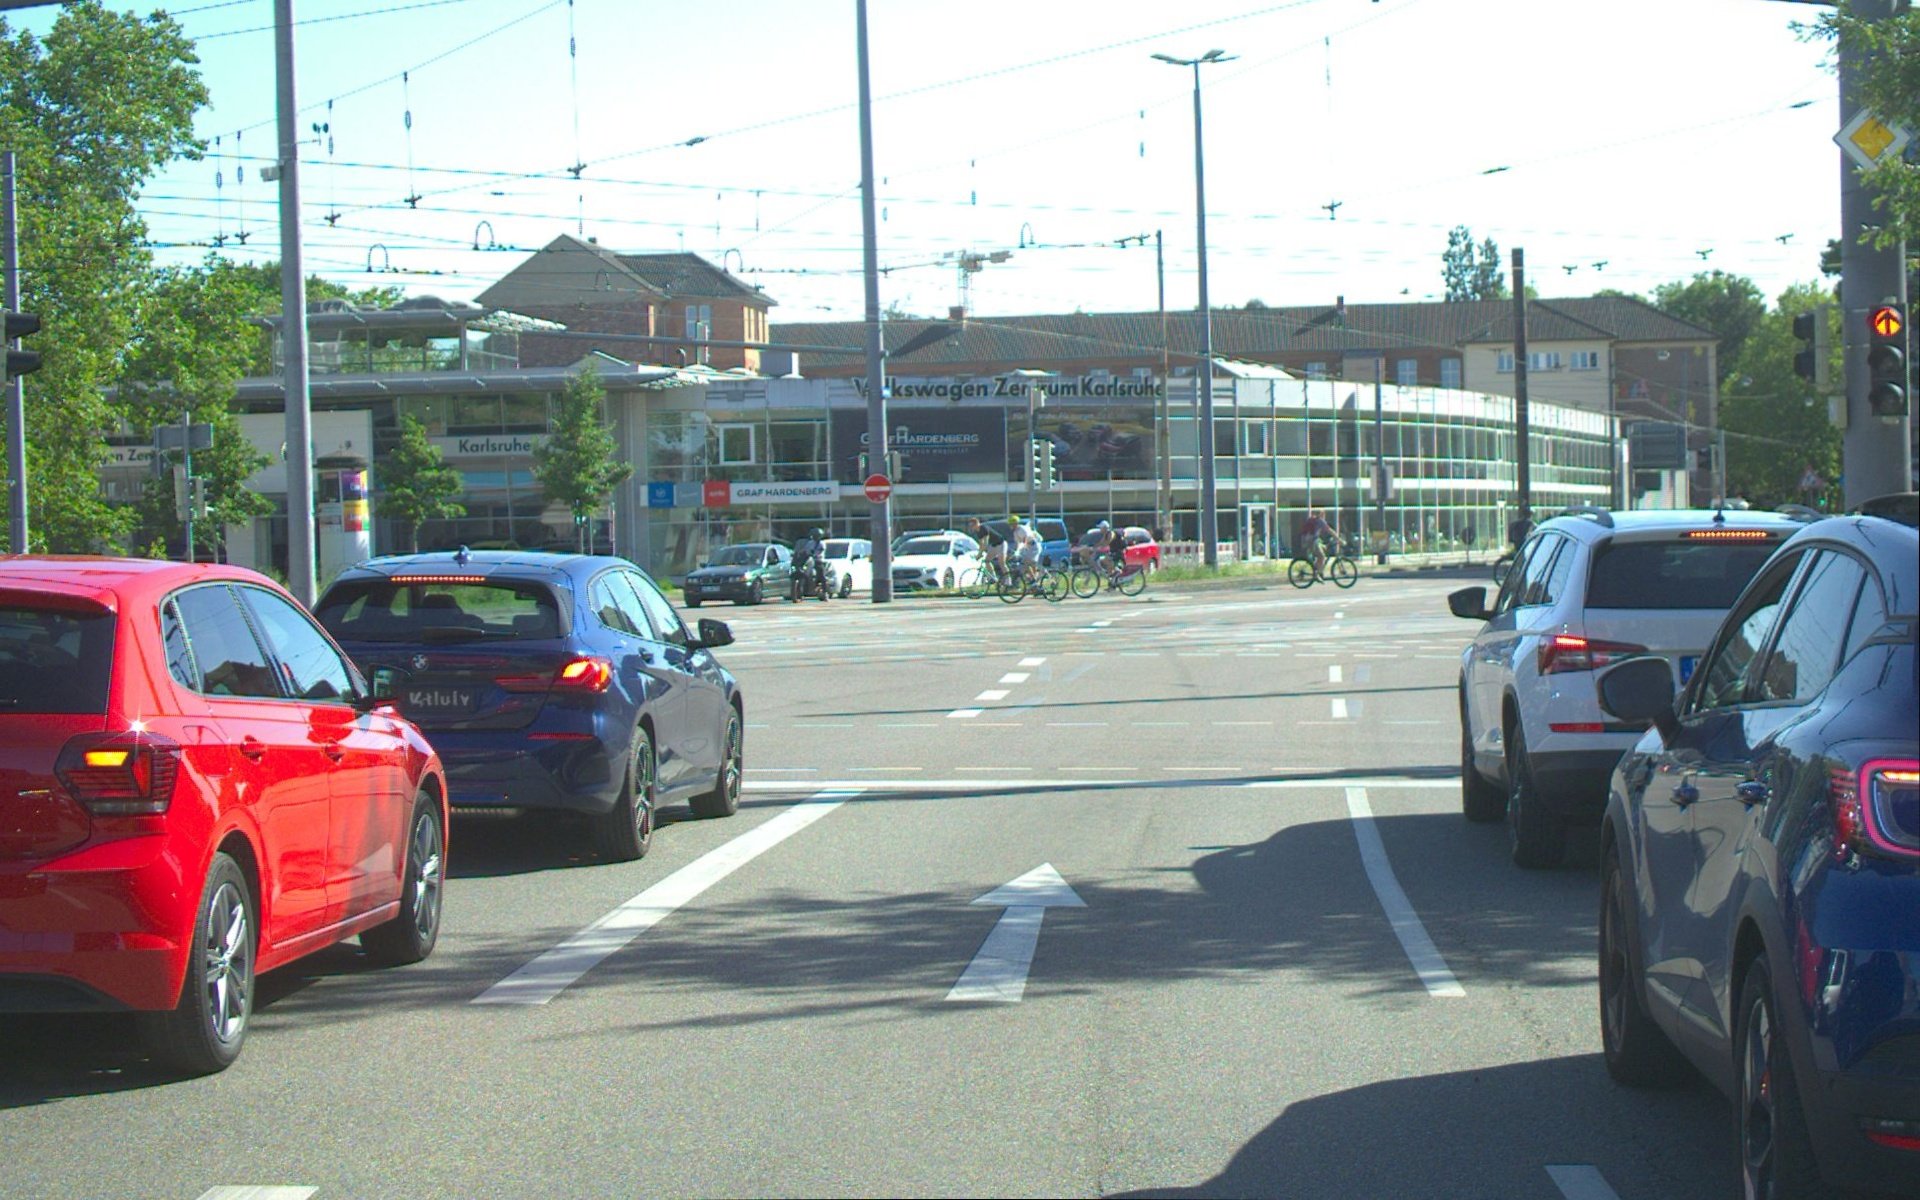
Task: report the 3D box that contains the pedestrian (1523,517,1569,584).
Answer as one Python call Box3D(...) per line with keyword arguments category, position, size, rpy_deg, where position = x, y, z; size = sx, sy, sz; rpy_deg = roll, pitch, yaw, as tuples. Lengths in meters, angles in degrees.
Box3D(category="pedestrian", position=(14.423, -1.216, 84.624), size=(0.849, 1.605, 0.704), rpy_deg=(-3, 4, -35))

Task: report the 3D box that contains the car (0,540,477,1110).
Box3D(category="car", position=(-2.752, 0.551, 10.811), size=(1.672, 1.437, 3.721), rpy_deg=(1, 1, 4))

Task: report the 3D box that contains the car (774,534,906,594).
Box3D(category="car", position=(-2.954, -0.906, 85.453), size=(1.727, 1.437, 4.180), rpy_deg=(-1, 1, 22))

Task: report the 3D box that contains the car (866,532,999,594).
Box3D(category="car", position=(-0.631, -0.905, 82.986), size=(1.727, 1.437, 4.180), rpy_deg=(-1, 1, 22))

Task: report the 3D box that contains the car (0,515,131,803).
Box3D(category="car", position=(-5.680, 0.282, 17.057), size=(1.725, 1.437, 3.909), rpy_deg=(1, 1, 8))

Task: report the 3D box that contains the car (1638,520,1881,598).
Box3D(category="car", position=(15.837, -0.813, 68.140), size=(4.358, 1.437, 1.731), rpy_deg=(1, 1, -16))

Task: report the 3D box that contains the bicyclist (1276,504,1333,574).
Box3D(category="bicyclist", position=(8.022, -1.435, 80.022), size=(1.062, 1.578, 0.948), rpy_deg=(-1, 3, -14))

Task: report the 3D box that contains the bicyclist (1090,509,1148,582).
Box3D(category="bicyclist", position=(3.538, -1.215, 76.528), size=(1.062, 1.578, 0.948), rpy_deg=(-1, 3, -14))

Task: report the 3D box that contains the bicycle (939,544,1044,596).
Box3D(category="bicycle", position=(0.686, -0.652, 75.085), size=(2.177, 1.091, 0.759), rpy_deg=(-1, 1, -13))

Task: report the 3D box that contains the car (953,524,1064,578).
Box3D(category="car", position=(1.409, -1.381, 97.106), size=(1.727, 1.437, 4.179), rpy_deg=(2, 1, 22))

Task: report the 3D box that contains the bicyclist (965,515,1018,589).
Box3D(category="bicyclist", position=(0.688, -1.043, 75.080), size=(0.985, 1.598, 0.759), rpy_deg=(-1, 1, -13))

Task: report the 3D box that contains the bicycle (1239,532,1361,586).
Box3D(category="bicycle", position=(7.916, -0.964, 80.030), size=(2.645, 1.184, 0.948), rpy_deg=(-1, 3, -14))

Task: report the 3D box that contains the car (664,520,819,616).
Box3D(category="car", position=(-4.985, -0.771, 79.118), size=(1.996, 2.006, 3.996), rpy_deg=(1, 3, 22))

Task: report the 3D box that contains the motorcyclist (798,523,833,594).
Box3D(category="motorcyclist", position=(-3.297, -0.948, 78.642), size=(0.550, 1.615, 0.744), rpy_deg=(-1, 1, 18))

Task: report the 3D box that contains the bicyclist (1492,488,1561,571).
Box3D(category="bicyclist", position=(12.404, -1.550, 75.272), size=(1.183, 1.770, 0.948), rpy_deg=(-2, 3, -21))

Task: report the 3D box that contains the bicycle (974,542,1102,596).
Box3D(category="bicycle", position=(1.644, -0.656, 72.919), size=(2.643, 1.091, 0.969), rpy_deg=(-1, 1, -1))

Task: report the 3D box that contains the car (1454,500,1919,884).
Box3D(category="car", position=(3.382, 0.362, 16.411), size=(1.877, 1.612, 3.624), rpy_deg=(0, 1, 6))

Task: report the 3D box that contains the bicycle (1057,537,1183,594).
Box3D(category="bicycle", position=(3.565, -0.769, 76.537), size=(2.645, 1.184, 0.948), rpy_deg=(-1, 3, -14))

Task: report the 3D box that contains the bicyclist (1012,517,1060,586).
Box3D(category="bicyclist", position=(1.609, -1.025, 72.913), size=(0.962, 1.444, 0.969), rpy_deg=(-1, 1, -1))

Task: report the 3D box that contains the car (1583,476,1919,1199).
Box3D(category="car", position=(2.555, 0.572, 7.811), size=(1.877, 1.612, 3.797), rpy_deg=(0, 1, 5))

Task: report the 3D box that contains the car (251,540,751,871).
Box3D(category="car", position=(-2.177, 0.435, 17.291), size=(1.725, 1.437, 3.798), rpy_deg=(1, 1, 4))

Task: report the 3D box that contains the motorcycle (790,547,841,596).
Box3D(category="motorcycle", position=(-3.297, -0.666, 78.642), size=(0.562, 1.091, 1.834), rpy_deg=(-1, 1, 18))

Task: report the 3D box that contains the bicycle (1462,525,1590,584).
Box3D(category="bicycle", position=(12.392, -1.002, 75.307), size=(2.645, 1.184, 0.948), rpy_deg=(-2, 3, -21))

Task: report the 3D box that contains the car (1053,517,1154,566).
Box3D(category="car", position=(4.366, -1.757, 103.871), size=(1.727, 1.437, 4.179), rpy_deg=(2, 1, 22))
